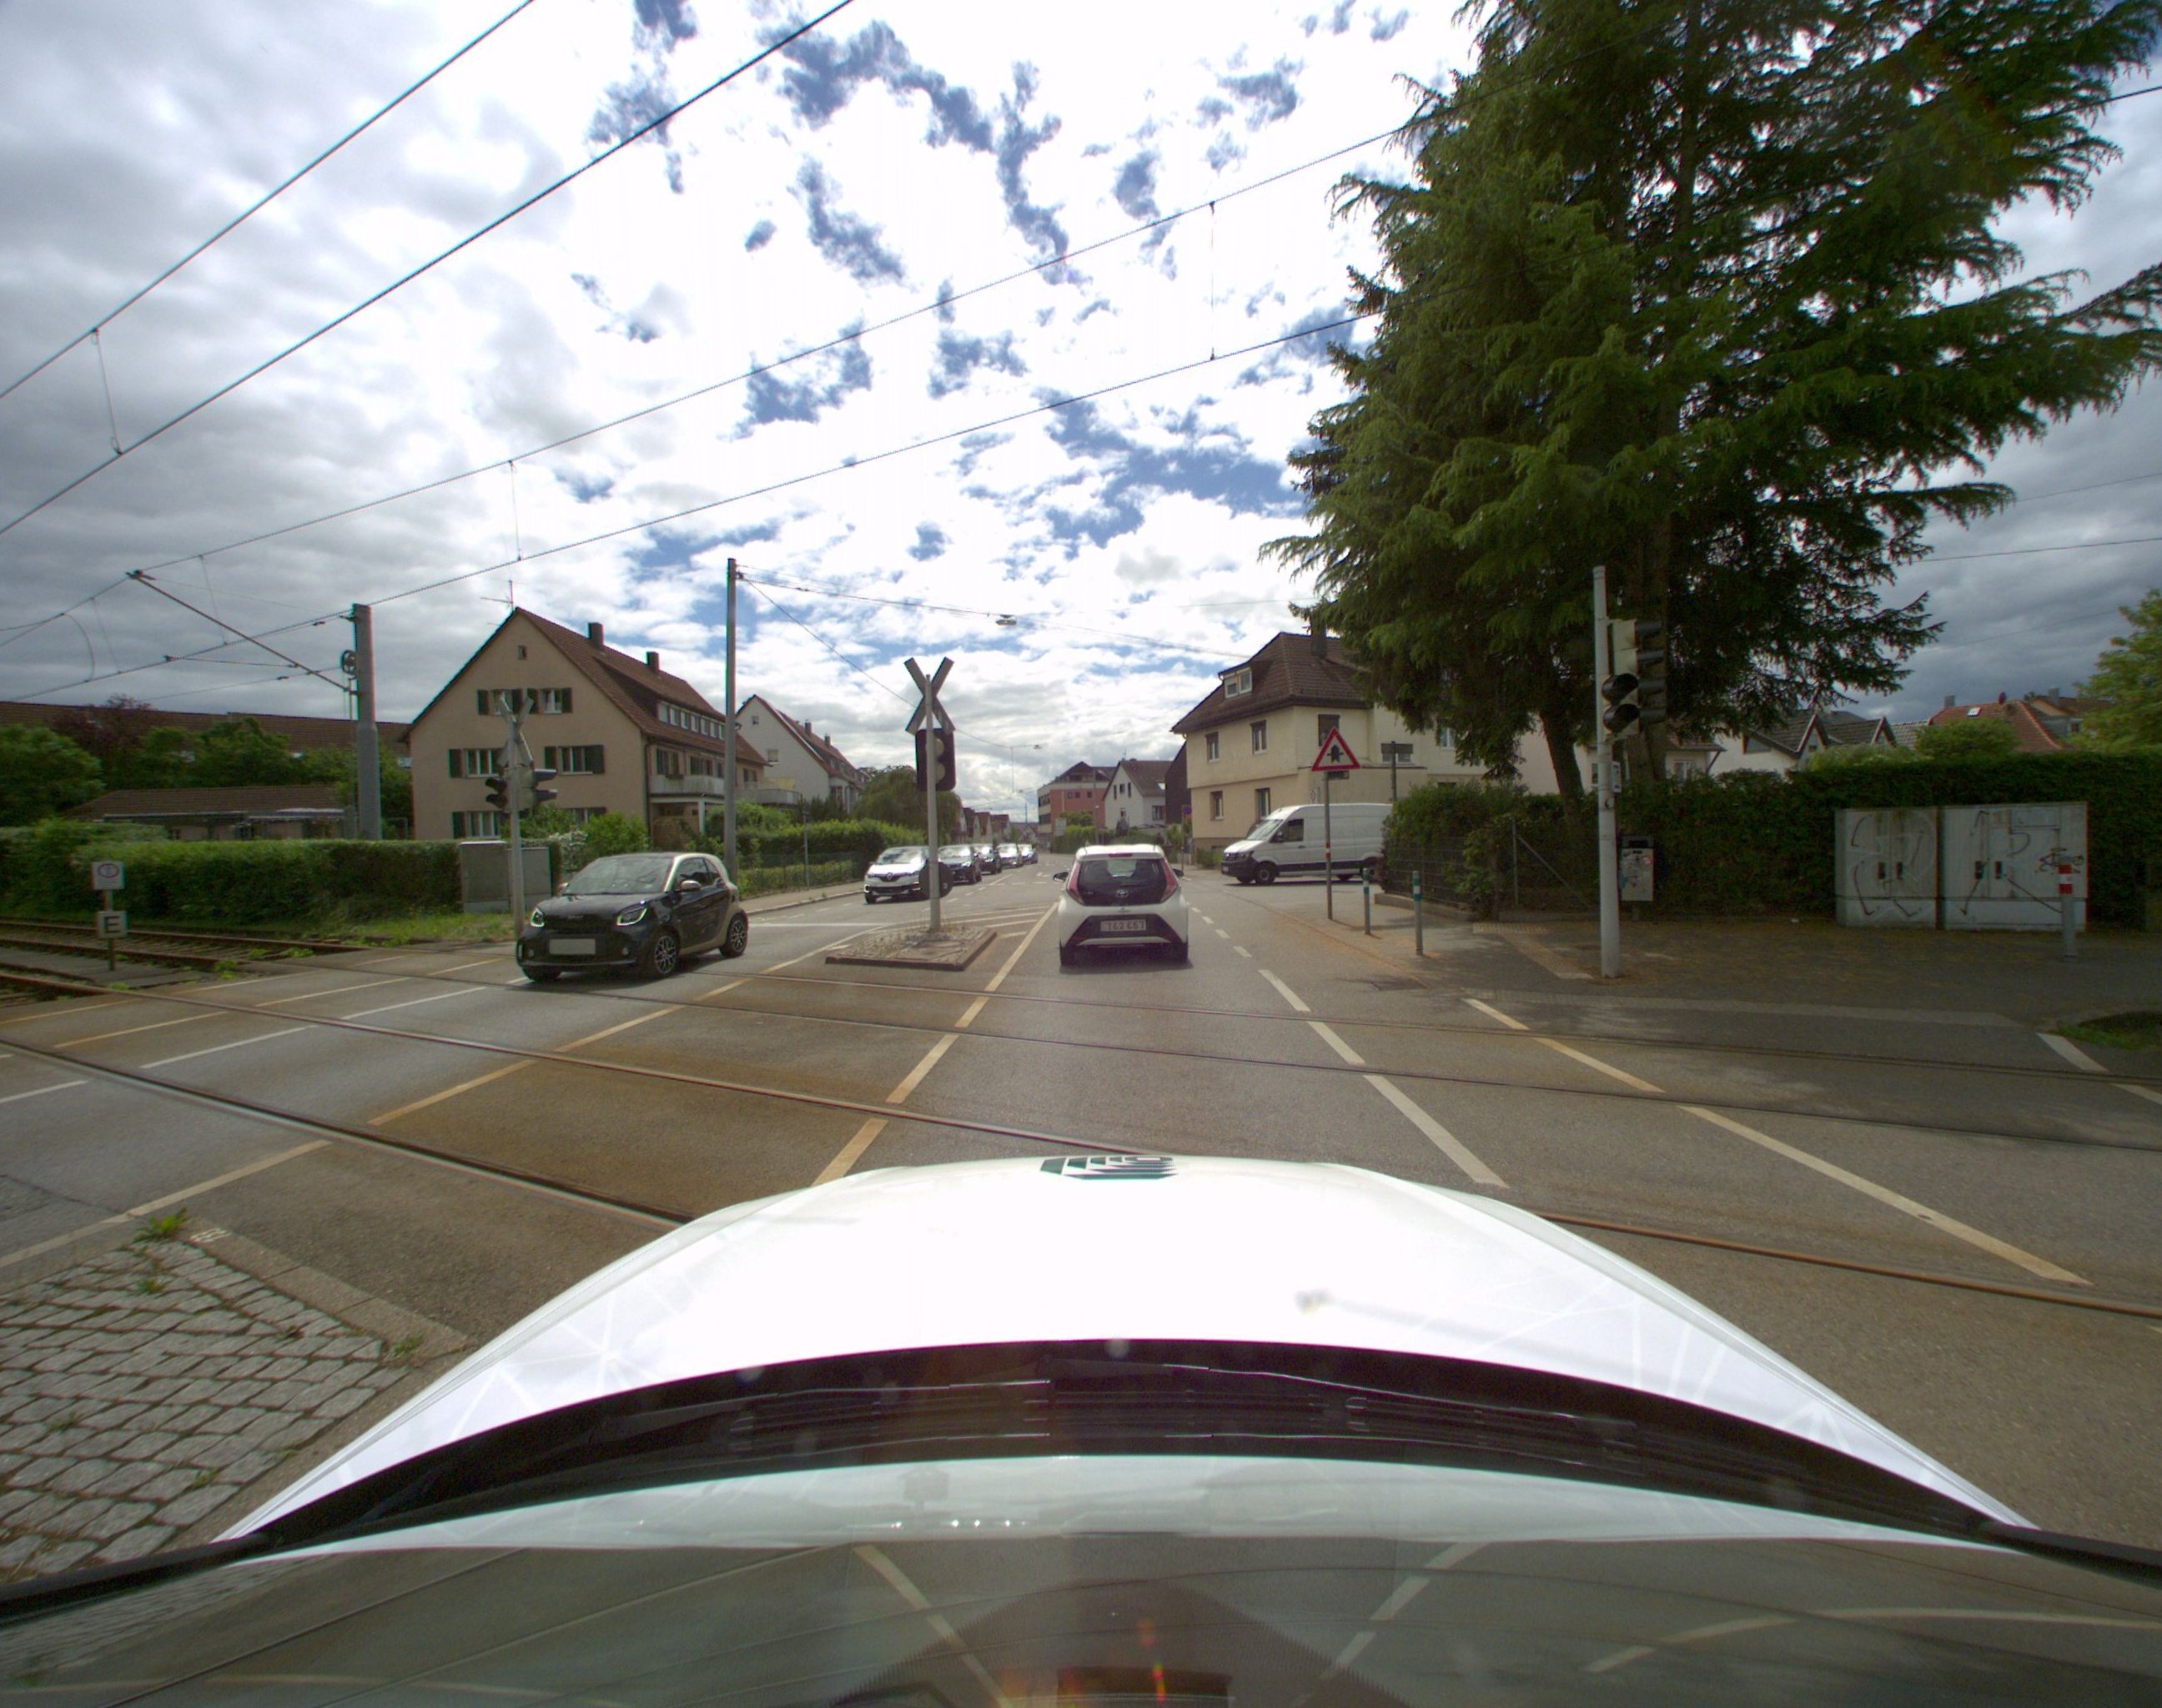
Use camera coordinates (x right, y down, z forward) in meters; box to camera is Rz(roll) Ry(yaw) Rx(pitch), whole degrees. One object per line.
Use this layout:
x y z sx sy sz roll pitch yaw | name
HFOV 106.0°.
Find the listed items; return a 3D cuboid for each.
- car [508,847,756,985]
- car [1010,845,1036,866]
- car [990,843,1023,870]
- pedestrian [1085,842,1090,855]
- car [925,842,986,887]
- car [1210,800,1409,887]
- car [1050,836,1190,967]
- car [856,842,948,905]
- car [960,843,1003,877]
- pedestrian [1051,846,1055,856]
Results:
-5.715 0.705 10.749 1.568 1.510 2.790 -2 1 3 | car
-4.385 0.107 61.832 1.771 1.430 4.516 -4 0 -4 | car
-4.902 0.157 53.874 1.770 1.561 4.167 -4 0 -2 | car
0.663 -0.567 88.225 0.413 1.437 0.436 -1 1 -13 | pedestrian
-5.025 0.388 33.123 1.769 1.603 4.037 -3 0 -1 | car
7.431 -0.386 26.656 5.998 2.581 1.993 -2 1 -11 | car
0.515 0.522 11.700 1.615 1.486 4.002 -2 1 1 | car
-5.183 0.523 24.097 1.769 1.603 4.037 -3 0 -1 | car
-5.243 0.289 43.490 1.770 1.603 4.166 -4 0 -2 | car
-3.950 -0.380 114.199 0.413 1.437 0.436 -1 1 -8 | pedestrian
